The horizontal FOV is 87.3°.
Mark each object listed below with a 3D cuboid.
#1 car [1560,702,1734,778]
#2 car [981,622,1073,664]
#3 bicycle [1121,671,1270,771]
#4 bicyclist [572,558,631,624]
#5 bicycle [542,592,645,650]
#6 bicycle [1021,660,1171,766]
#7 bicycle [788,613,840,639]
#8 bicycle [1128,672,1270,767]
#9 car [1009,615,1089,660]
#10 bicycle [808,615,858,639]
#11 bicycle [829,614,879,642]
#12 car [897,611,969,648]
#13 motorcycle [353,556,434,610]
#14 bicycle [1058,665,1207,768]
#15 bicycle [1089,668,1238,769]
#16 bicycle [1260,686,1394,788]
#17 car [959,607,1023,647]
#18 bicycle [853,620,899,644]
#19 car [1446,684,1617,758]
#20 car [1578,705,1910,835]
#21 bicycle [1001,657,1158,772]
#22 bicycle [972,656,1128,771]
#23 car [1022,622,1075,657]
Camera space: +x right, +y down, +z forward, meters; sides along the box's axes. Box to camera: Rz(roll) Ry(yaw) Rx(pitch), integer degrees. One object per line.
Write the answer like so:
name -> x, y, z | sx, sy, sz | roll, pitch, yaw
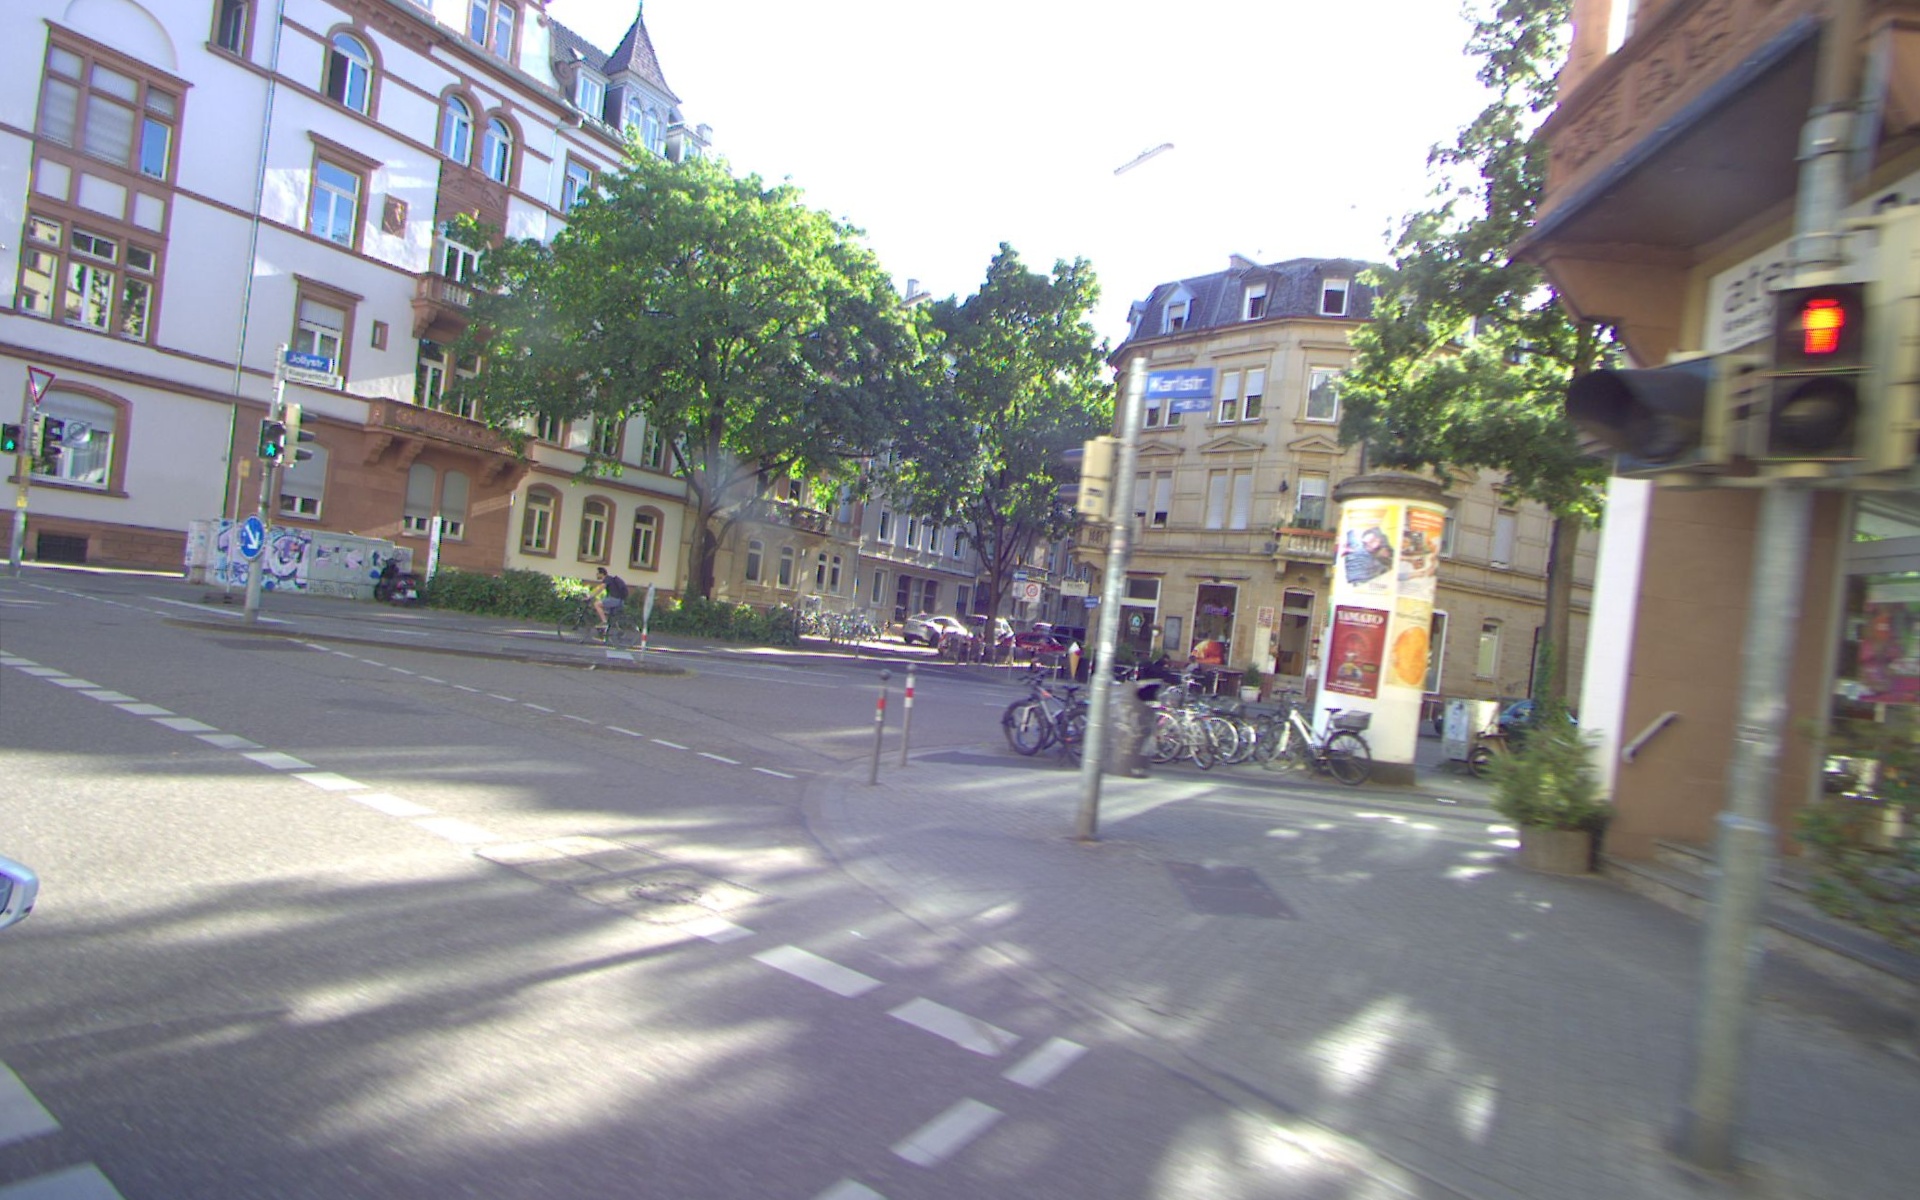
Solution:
car -> 20.073, 4.088, 29.450 | 4.184, 1.623, 1.841 | 7, -2, -15
car -> 3.163, 1.993, 47.239 | 4.099, 1.451, 1.638 | 6, 1, 5
bicycle -> 3.328, 1.699, 14.411 | 0.613, 1.156, 2.101 | 7, -3, -36
bicyclist -> -8.230, -0.200, 23.097 | 1.120, 1.359, 0.833 | 7, 0, -22
bicycle -> -8.397, 0.478, 23.069 | 2.069, 1.057, 0.843 | 7, 0, -22
bicycle -> 1.758, 1.461, 13.359 | 0.613, 1.156, 2.101 | 7, -3, -36
bicycle -> -6.495, 1.145, 44.821 | 2.128, 0.882, 1.013 | 7, -1, 38
bicycle -> 3.541, 1.763, 15.123 | 0.613, 1.156, 2.101 | 7, -3, -36
car -> 4.615, 1.950, 52.336 | 3.924, 1.887, 1.638 | 6, 1, 5
bicycle -> -5.782, 1.215, 45.728 | 2.127, 0.658, 1.013 | 12, 2, 37
bicycle -> -5.015, 1.308, 47.531 | 2.127, 0.899, 1.013 | 12, 2, 37
car -> -1.368, 1.563, 51.961 | 1.537, 1.446, 3.797 | 10, 1, 36
motorcycle -> -14.506, -0.443, 25.733 | 2.350, 1.138, 0.612 | 7, 0, 31
bicycle -> 2.326, 1.571, 13.834 | 0.613, 1.156, 2.101 | 7, -3, -36
bicycle -> 2.806, 1.628, 14.086 | 0.613, 1.156, 2.101 | 7, -3, -36
bicycle -> 4.958, 1.836, 13.674 | 0.539, 1.156, 1.602 | 7, -2, -36
car -> 1.770, 1.552, 56.927 | 1.611, 1.885, 3.991 | 8, 0, 32
bicycle -> -4.068, 1.536, 48.758 | 2.022, 0.741, 1.013 | 12, 2, 37
car -> 15.853, 3.348, 27.927 | 4.193, 1.516, 1.837 | 8, -2, -22
car -> 13.117, 2.810, 17.109 | 1.805, 1.388, 3.972 | 7, -1, -28
bicycle -> 1.463, 1.414, 12.730 | 0.613, 1.156, 2.100 | 7, -2, -36
bicycle -> 1.068, 1.367, 12.490 | 0.613, 1.156, 2.100 | 7, -2, -36
car -> 5.729, 2.541, 64.642 | 1.714, 1.885, 3.994 | 7, -1, 30
